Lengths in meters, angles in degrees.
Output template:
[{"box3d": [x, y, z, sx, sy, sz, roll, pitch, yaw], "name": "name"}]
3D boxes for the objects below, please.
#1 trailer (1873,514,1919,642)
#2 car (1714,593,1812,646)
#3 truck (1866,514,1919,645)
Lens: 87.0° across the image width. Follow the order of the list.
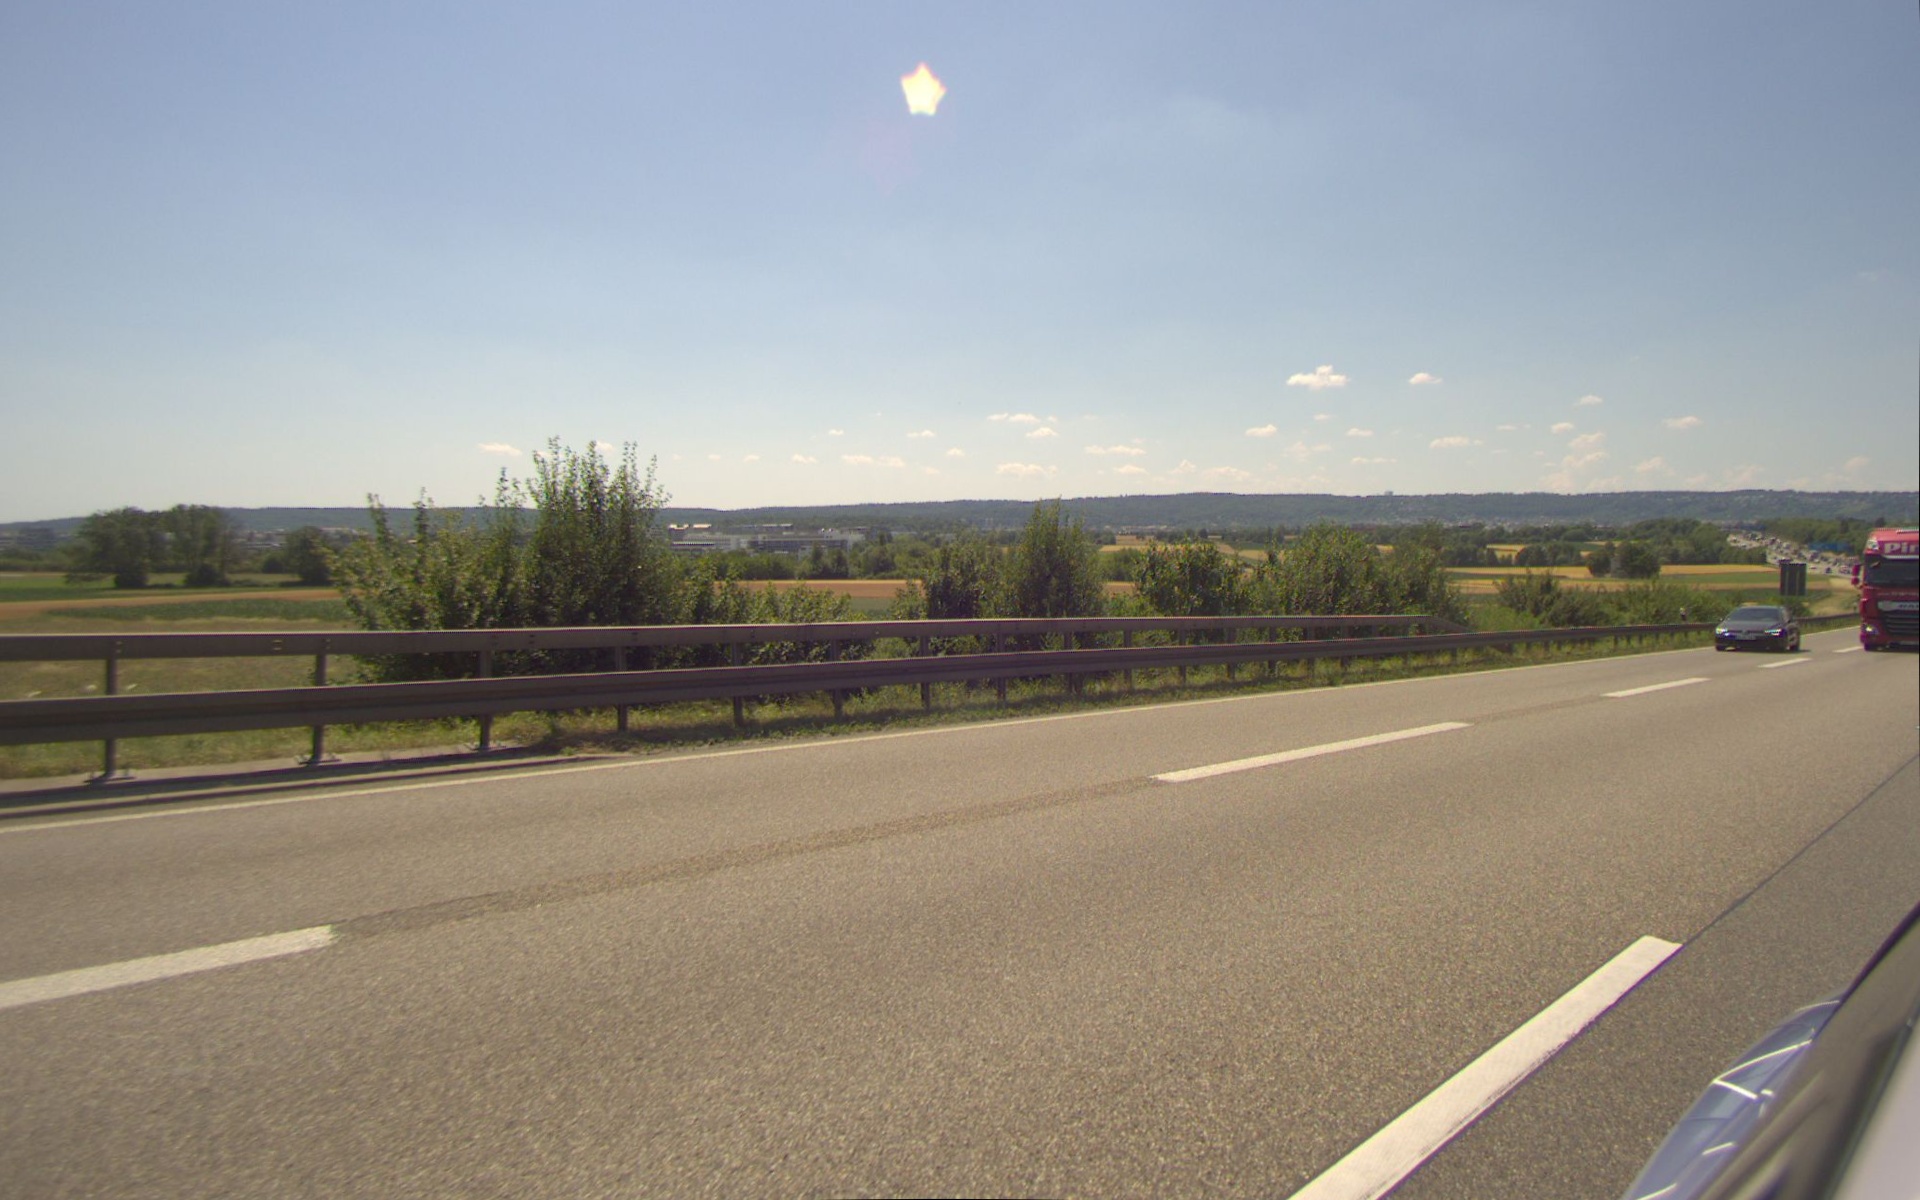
[{"box3d": [36.448, -0.866, 37.467, 13.629, 4.169, 2.921, -2, 1, -44], "name": "trailer"}, {"box3d": [25.912, 0.581, 32.604, 3.934, 1.571, 2.033, 0, 0, -45], "name": "car"}, {"box3d": [32.227, -0.689, 33.447, 6.404, 4.059, 2.918, -1, 0, -44], "name": "truck"}]
